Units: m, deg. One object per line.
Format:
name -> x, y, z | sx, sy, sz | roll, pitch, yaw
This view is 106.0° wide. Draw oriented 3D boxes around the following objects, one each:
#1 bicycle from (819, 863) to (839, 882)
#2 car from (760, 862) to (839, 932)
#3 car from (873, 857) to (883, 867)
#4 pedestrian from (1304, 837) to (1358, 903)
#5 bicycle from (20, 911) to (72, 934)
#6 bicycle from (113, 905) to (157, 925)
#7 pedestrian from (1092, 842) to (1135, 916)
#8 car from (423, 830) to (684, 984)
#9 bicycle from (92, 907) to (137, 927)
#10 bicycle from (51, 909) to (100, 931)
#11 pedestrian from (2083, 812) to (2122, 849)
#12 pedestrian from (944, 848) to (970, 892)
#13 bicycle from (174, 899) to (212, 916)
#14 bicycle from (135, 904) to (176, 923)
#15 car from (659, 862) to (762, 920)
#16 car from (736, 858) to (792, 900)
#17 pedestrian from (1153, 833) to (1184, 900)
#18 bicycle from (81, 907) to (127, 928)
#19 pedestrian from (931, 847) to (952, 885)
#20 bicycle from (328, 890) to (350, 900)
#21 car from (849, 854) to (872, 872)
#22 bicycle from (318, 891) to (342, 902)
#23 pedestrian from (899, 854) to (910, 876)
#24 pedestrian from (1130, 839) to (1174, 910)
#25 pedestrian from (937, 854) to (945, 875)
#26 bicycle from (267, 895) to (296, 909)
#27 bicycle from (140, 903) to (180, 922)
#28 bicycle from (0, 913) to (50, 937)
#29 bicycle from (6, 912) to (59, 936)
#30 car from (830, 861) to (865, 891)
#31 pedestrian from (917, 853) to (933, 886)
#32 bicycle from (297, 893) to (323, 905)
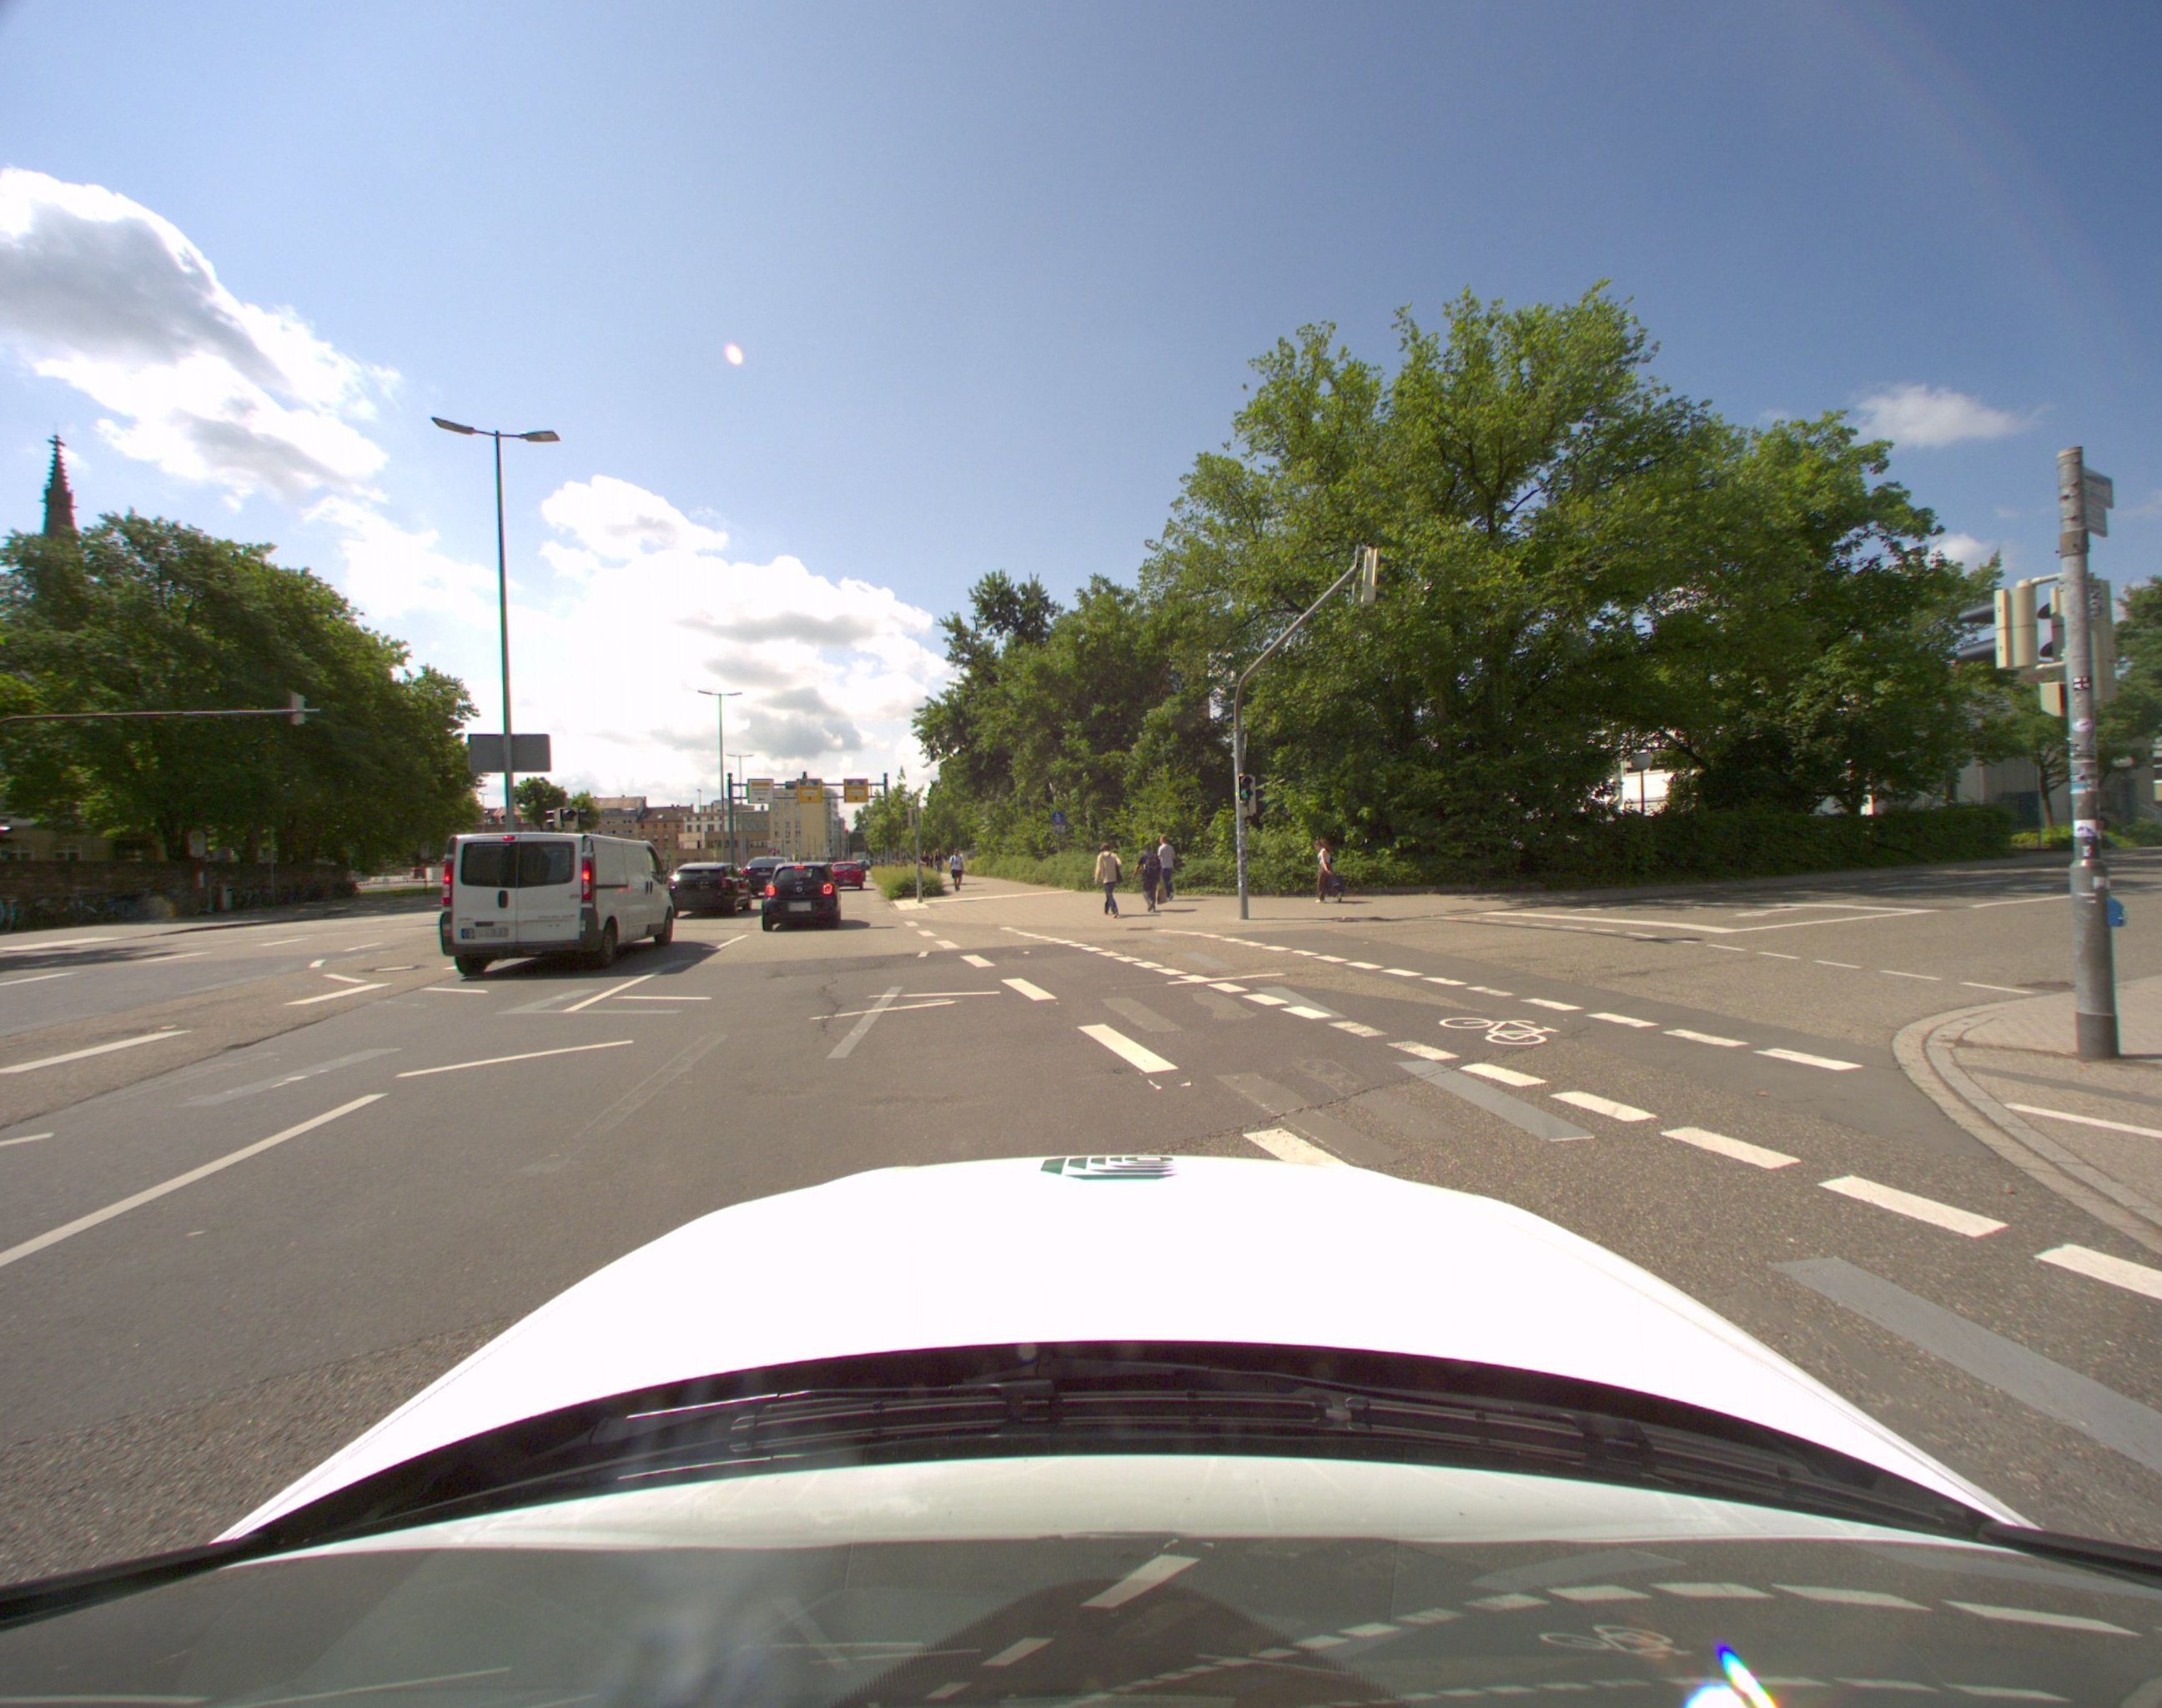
bicycle -> -27.579, 2.011, 89.082 | 1.999, 2.014, 3.974 | 0, -1, -19
car -> -6.680, 0.950, 19.597 | 1.615, 1.485, 3.497 | -1, -1, -17
car -> -42.128, 1.609, 168.948 | 1.946, 1.963, 3.932 | 0, -1, -13
pedestrian -> 6.414, 0.398, 20.931 | 1.007, 1.626, 0.863 | -1, 2, 43
bicycle -> -34.017, 2.246, 26.775 | 0.403, 0.682, 1.014 | -1, -1, 32
bicycle -> -35.803, 2.316, 30.833 | 0.403, 0.682, 1.014 | -1, -1, 32
pedestrian -> 0.763, 0.573, 19.612 | 0.795, 1.704, 1.179 | -1, 0, -9
car -> -8.140, 0.689, 13.249 | 2.009, 1.955, 5.167 | -1, 0, -15
bicycle -> -35.461, 2.300, 29.893 | 0.403, 0.682, 1.014 | -1, -1, 32
bicycle -> -34.926, 2.274, 28.301 | 0.403, 0.682, 1.014 | -1, -1, 32
pedestrian -> 42.477, -0.972, 33.880 | 0.520, 1.521, 0.848 | 0, -1, -17
pedestrian -> -5.029, 0.642, 33.036 | 0.853, 1.700, 0.926 | -3, 0, -17
bicycle -> -37.999, 2.288, 34.857 | 0.403, 0.682, 1.014 | -1, -1, 32
bicycle -> -36.362, 2.336, 31.993 | 0.403, 0.682, 1.014 | -1, -1, 32
car -> -10.967, 1.029, 24.478 | 2.021, 1.530, 4.861 | -1, -1, -15
car -> -13.182, 0.991, 34.068 | 1.831, 1.601, 4.368 | -1, 0, -17
pedestrian -> 2.436, 0.350, 22.697 | 0.670, 1.821, 0.701 | -1, 0, -9
bicycle -> -35.196, 2.290, 29.334 | 0.403, 0.682, 1.014 | -1, -1, 32
pedestrian -> -7.105, 0.590, 41.472 | 0.841, 1.868, 1.013 | -2, 0, -19
bicycle -> -49.851, 2.755, 54.726 | 0.403, 0.682, 1.014 | -1, -1, 32
car -> -17.169, 0.678, 63.385 | 1.615, 1.411, 3.497 | 0, 0, -17
bicycle -> -47.385, 2.689, 51.399 | 0.403, 0.682, 1.014 | -1, -1, 32
pedestrian -> -16.539, 1.018, 76.394 | 0.841, 1.969, 0.855 | -2, 0, -19
pedestrian -> 1.752, 0.487, 20.179 | 0.795, 1.704, 1.179 | -1, 0, -9
pedestrian -> -12.715, 0.994, 74.172 | 0.505, 1.890, 0.554 | 0, -1, -36
bicycle -> -42.287, 2.535, 43.075 | 0.403, 0.682, 1.014 | -1, -1, 32
bicycle -> -36.861, 2.345, 32.600 | 0.403, 0.682, 1.014 | -1, -1, 32
bicycle -> -33.216, 2.223, 25.571 | 0.403, 0.682, 1.014 | -1, -1, 32
bicycle -> -33.620, 2.234, 26.122 | 0.403, 0.682, 1.014 | -1, -1, 32
car -> -11.789, 1.055, 41.044 | 1.615, 1.411, 3.497 | 0, 0, -17
pedestrian -> -9.672, 0.960, 50.429 | 0.841, 1.969, 0.855 | -2, 0, -19
bicycle -> -44.920, 2.615, 47.441 | 0.403, 0.682, 1.014 | -1, -1, 32
